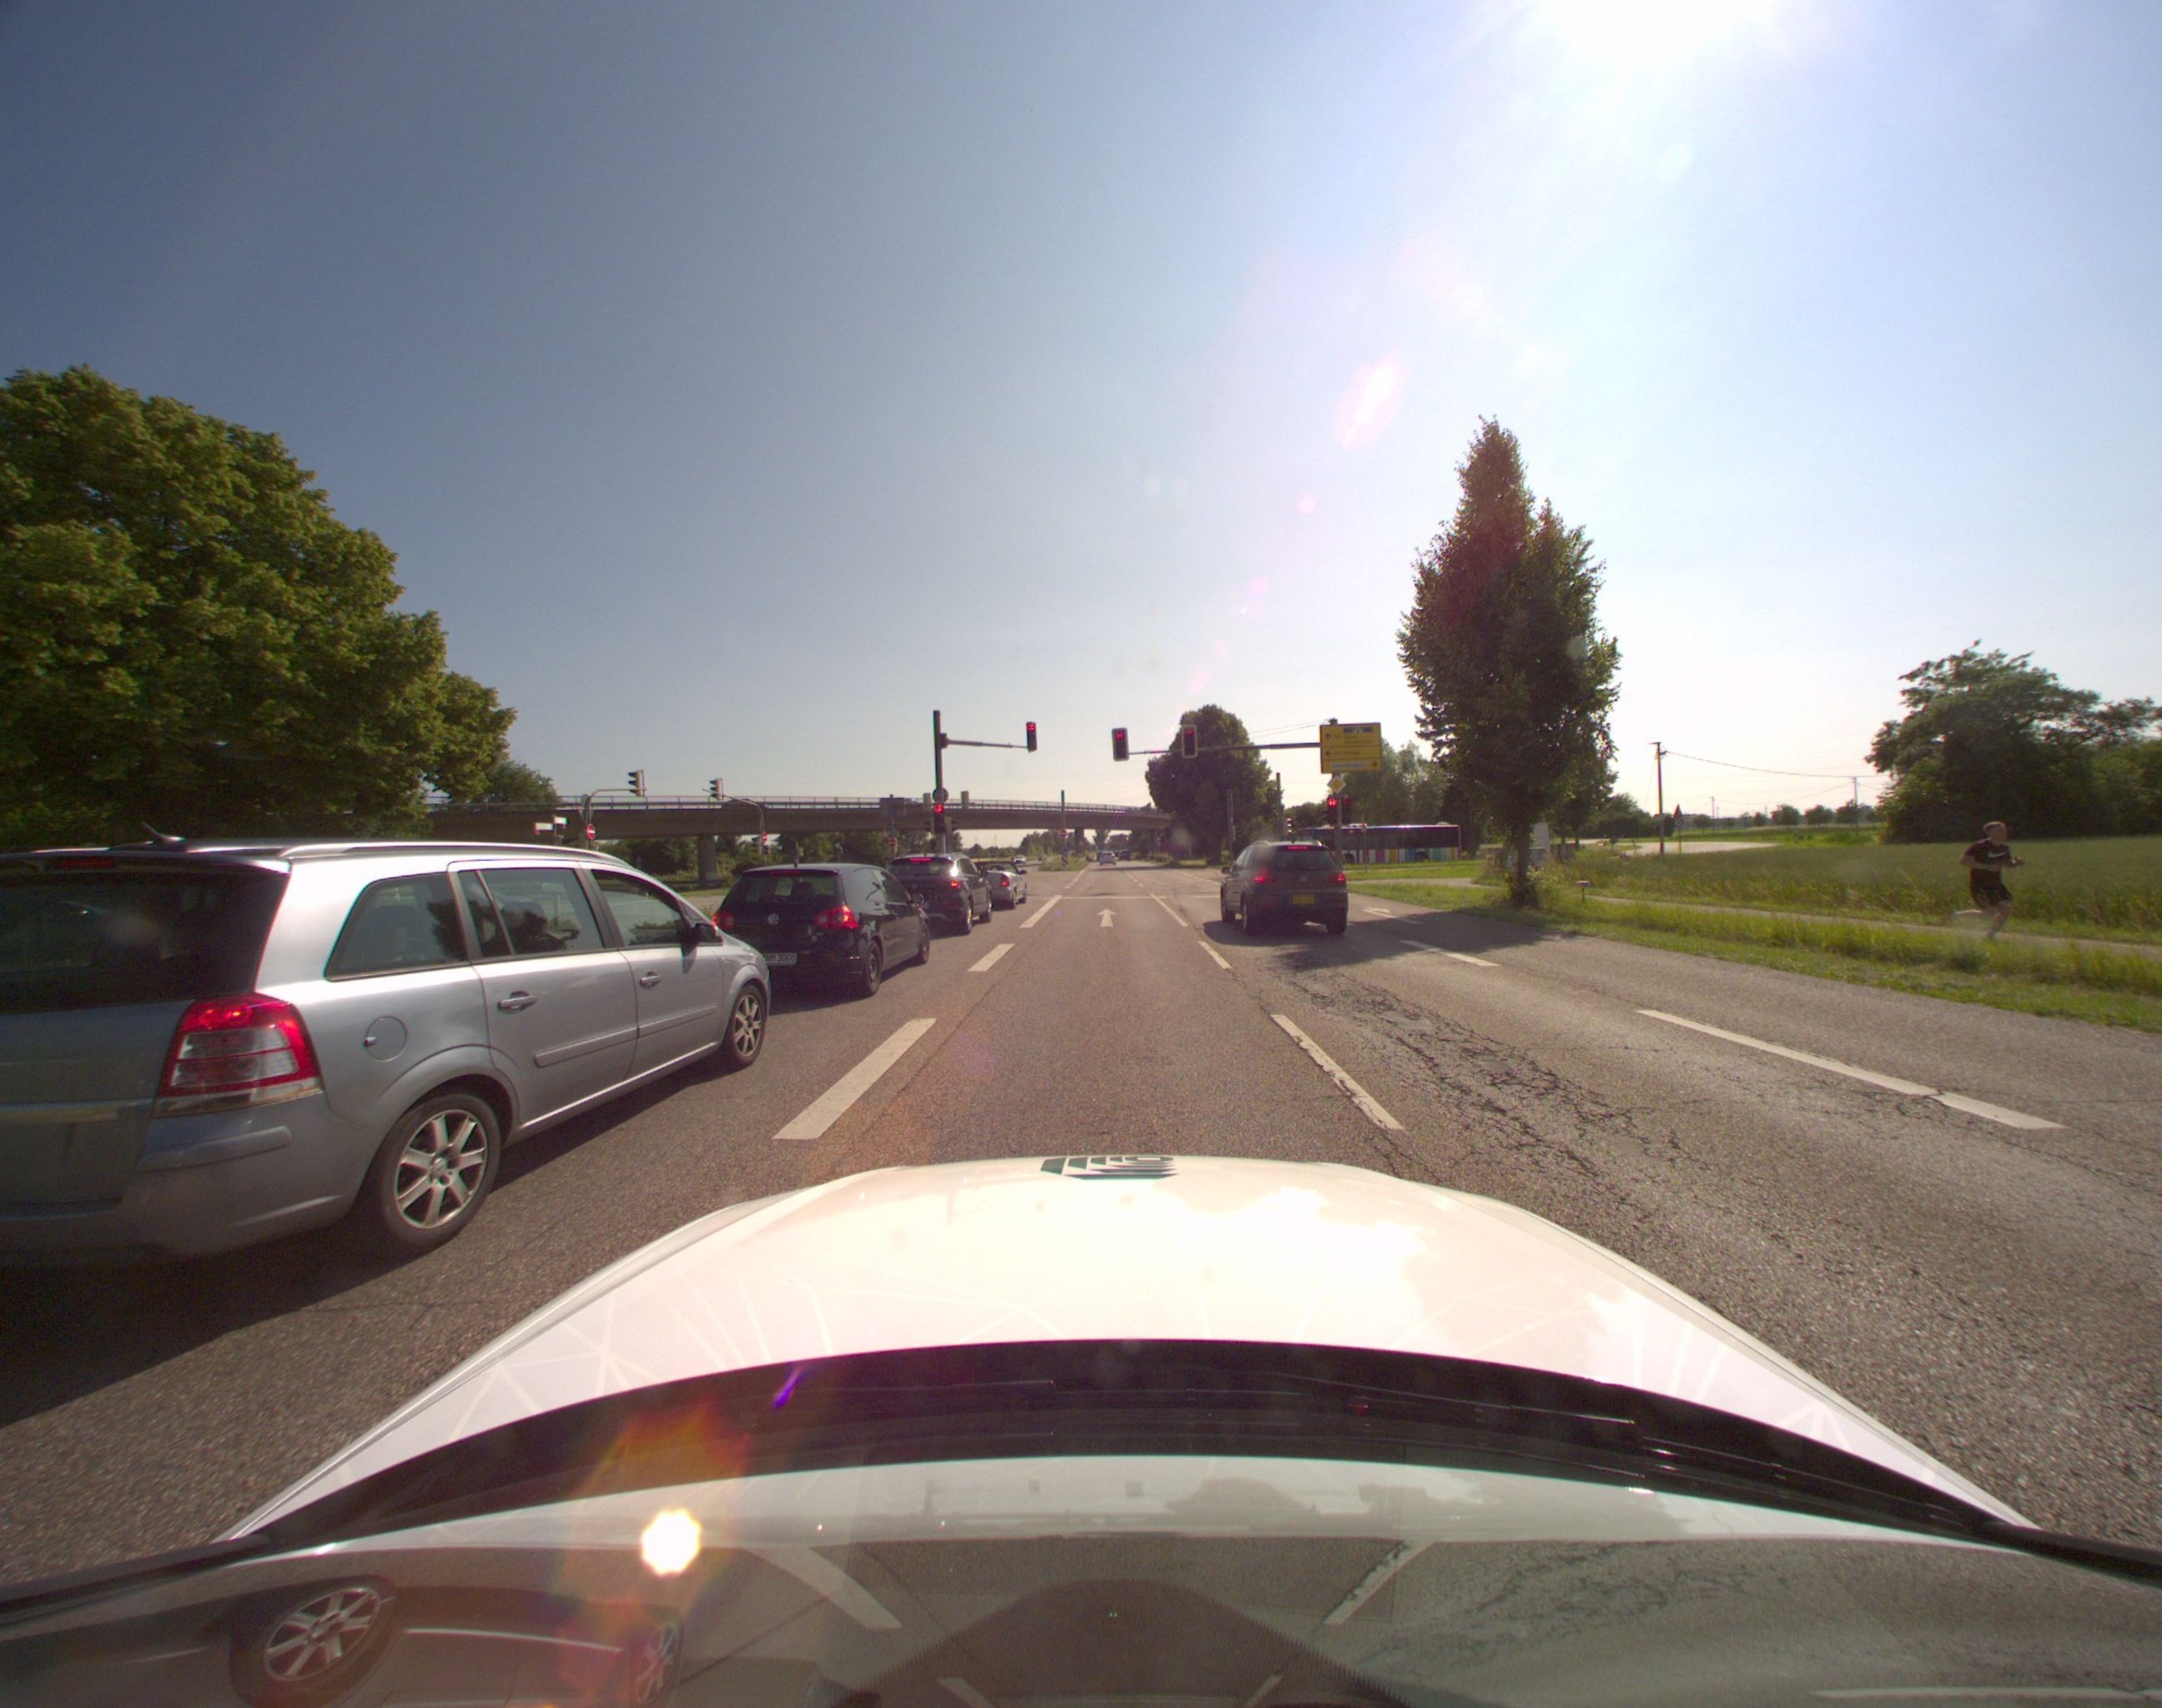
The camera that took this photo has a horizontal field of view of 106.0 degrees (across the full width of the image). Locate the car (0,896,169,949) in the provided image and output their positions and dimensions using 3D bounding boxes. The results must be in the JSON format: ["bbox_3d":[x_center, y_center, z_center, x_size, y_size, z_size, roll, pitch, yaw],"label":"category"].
[{"bbox_3d":[-37.860,2.545,30.642,4.372,1.595,1.633,-3,0,-34],"label":"car"}]

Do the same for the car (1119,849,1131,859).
[{"bbox_3d":[7.369,0.055,136.563,1.866,1.640,4.003,0,0,3],"label":"car"}]

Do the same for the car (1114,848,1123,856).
[{"bbox_3d":[7.929,-0.430,172.773,1.986,1.631,4.001,0,-1,1],"label":"car"}]

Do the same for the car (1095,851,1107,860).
[{"bbox_3d":[3.289,0.245,132.272,1.866,1.492,4.003,-2,0,3],"label":"car"}]

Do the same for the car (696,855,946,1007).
[{"bbox_3d":[-2.968,0.781,10.264,1.660,1.474,4.100,-1,0,2],"label":"car"}]

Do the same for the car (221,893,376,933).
[{"bbox_3d":[-32.716,2.421,34.219,4.364,1.280,1.636,-3,0,-27],"label":"car"}]

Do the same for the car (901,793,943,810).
[{"bbox_3d":[-17.076,-5.624,87.559,1.974,1.486,4.025,0,-1,38],"label":"car"}]

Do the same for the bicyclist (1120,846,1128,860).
[{"bbox_3d":[6.067,-0.147,114.082,1.004,1.886,1.327,-2,0,0],"label":"bicyclist"}]

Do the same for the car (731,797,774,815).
[{"bbox_3d":[-29.138,-4.244,72.211,1.307,1.486,3.218,-2,0,41],"label":"car"}]

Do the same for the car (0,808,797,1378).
[{"bbox_3d":[-3.317,0.698,4.586,1.734,1.672,4.359,-1,0,2],"label":"car"}]

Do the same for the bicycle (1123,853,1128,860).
[{"bbox_3d":[6.200,0.299,113.971,0.598,0.983,2.362,-2,0,2],"label":"bicycle"}]

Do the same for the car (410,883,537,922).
[{"bbox_3d":[-27.332,2.145,36.806,4.125,1.424,1.859,-3,0,-18],"label":"car"}]

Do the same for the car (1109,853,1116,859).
[{"bbox_3d":[8.899,0.513,232.001,1.986,1.655,4.002,0,-1,2],"label":"car"}]

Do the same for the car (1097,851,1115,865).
[{"bbox_3d":[2.793,0.393,88.667,1.843,1.461,4.003,-1,0,3],"label":"car"}]

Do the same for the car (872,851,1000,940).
[{"bbox_3d":[-2.825,0.738,16.753,1.722,1.547,4.100,-1,0,2],"label":"car"}]

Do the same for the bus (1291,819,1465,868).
[{"bbox_3d":[21.068,-0.774,57.744,11.953,2.877,2.928,-3,0,-14],"label":"bus"}]

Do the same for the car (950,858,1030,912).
[{"bbox_3d":[-2.516,0.829,23.418,1.667,1.335,4.100,-1,0,2],"label":"car"}]

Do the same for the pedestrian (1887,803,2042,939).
[{"bbox_3d":[12.744,0.228,11.802,0.899,1.839,1.194,-2,0,-1],"label":"pedestrian"}]

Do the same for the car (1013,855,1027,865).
[{"bbox_3d":[-9.941,1.008,132.532,1.876,1.515,4.148,-5,0,1],"label":"car"}]

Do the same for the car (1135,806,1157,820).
[{"bbox_3d":[10.443,-6.546,130.490,1.975,1.838,4.024,0,-1,29],"label":"car"}]

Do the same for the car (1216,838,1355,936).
[{"bbox_3d":[3.799,0.561,15.857,1.749,1.655,4.147,0,0,1],"label":"car"}]
